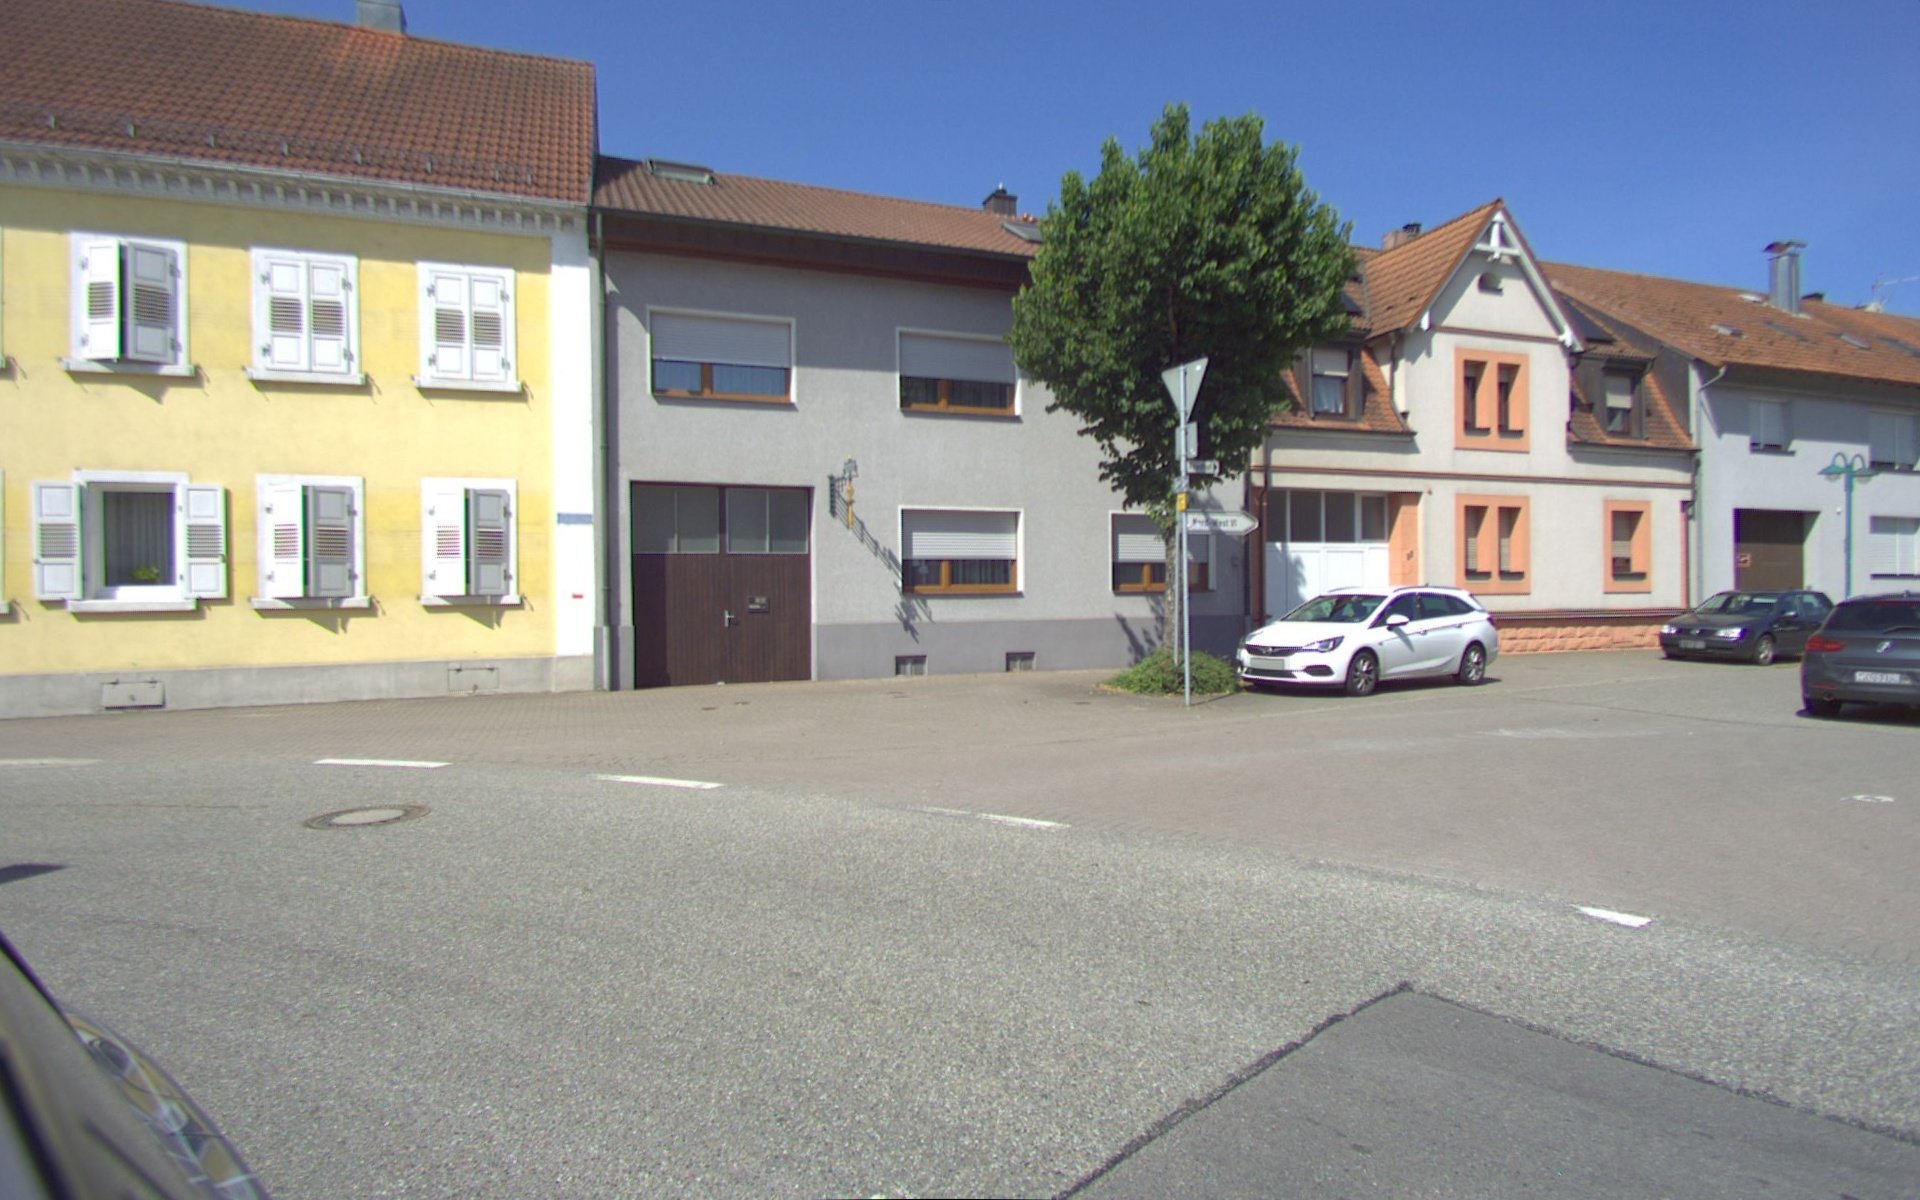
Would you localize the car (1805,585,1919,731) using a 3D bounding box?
[{"bbox_3d":[11.481,0.575,11.428,4.196,1.386,1.747,-2,3,-32],"label":"car"}]

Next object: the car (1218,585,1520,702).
[{"bbox_3d":[6.016,0.543,14.730,4.437,1.451,1.860,-1,-1,-33],"label":"car"}]

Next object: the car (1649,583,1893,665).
[{"bbox_3d":[16.455,0.417,20.492,5.121,1.451,1.997,-1,0,-28],"label":"car"}]
